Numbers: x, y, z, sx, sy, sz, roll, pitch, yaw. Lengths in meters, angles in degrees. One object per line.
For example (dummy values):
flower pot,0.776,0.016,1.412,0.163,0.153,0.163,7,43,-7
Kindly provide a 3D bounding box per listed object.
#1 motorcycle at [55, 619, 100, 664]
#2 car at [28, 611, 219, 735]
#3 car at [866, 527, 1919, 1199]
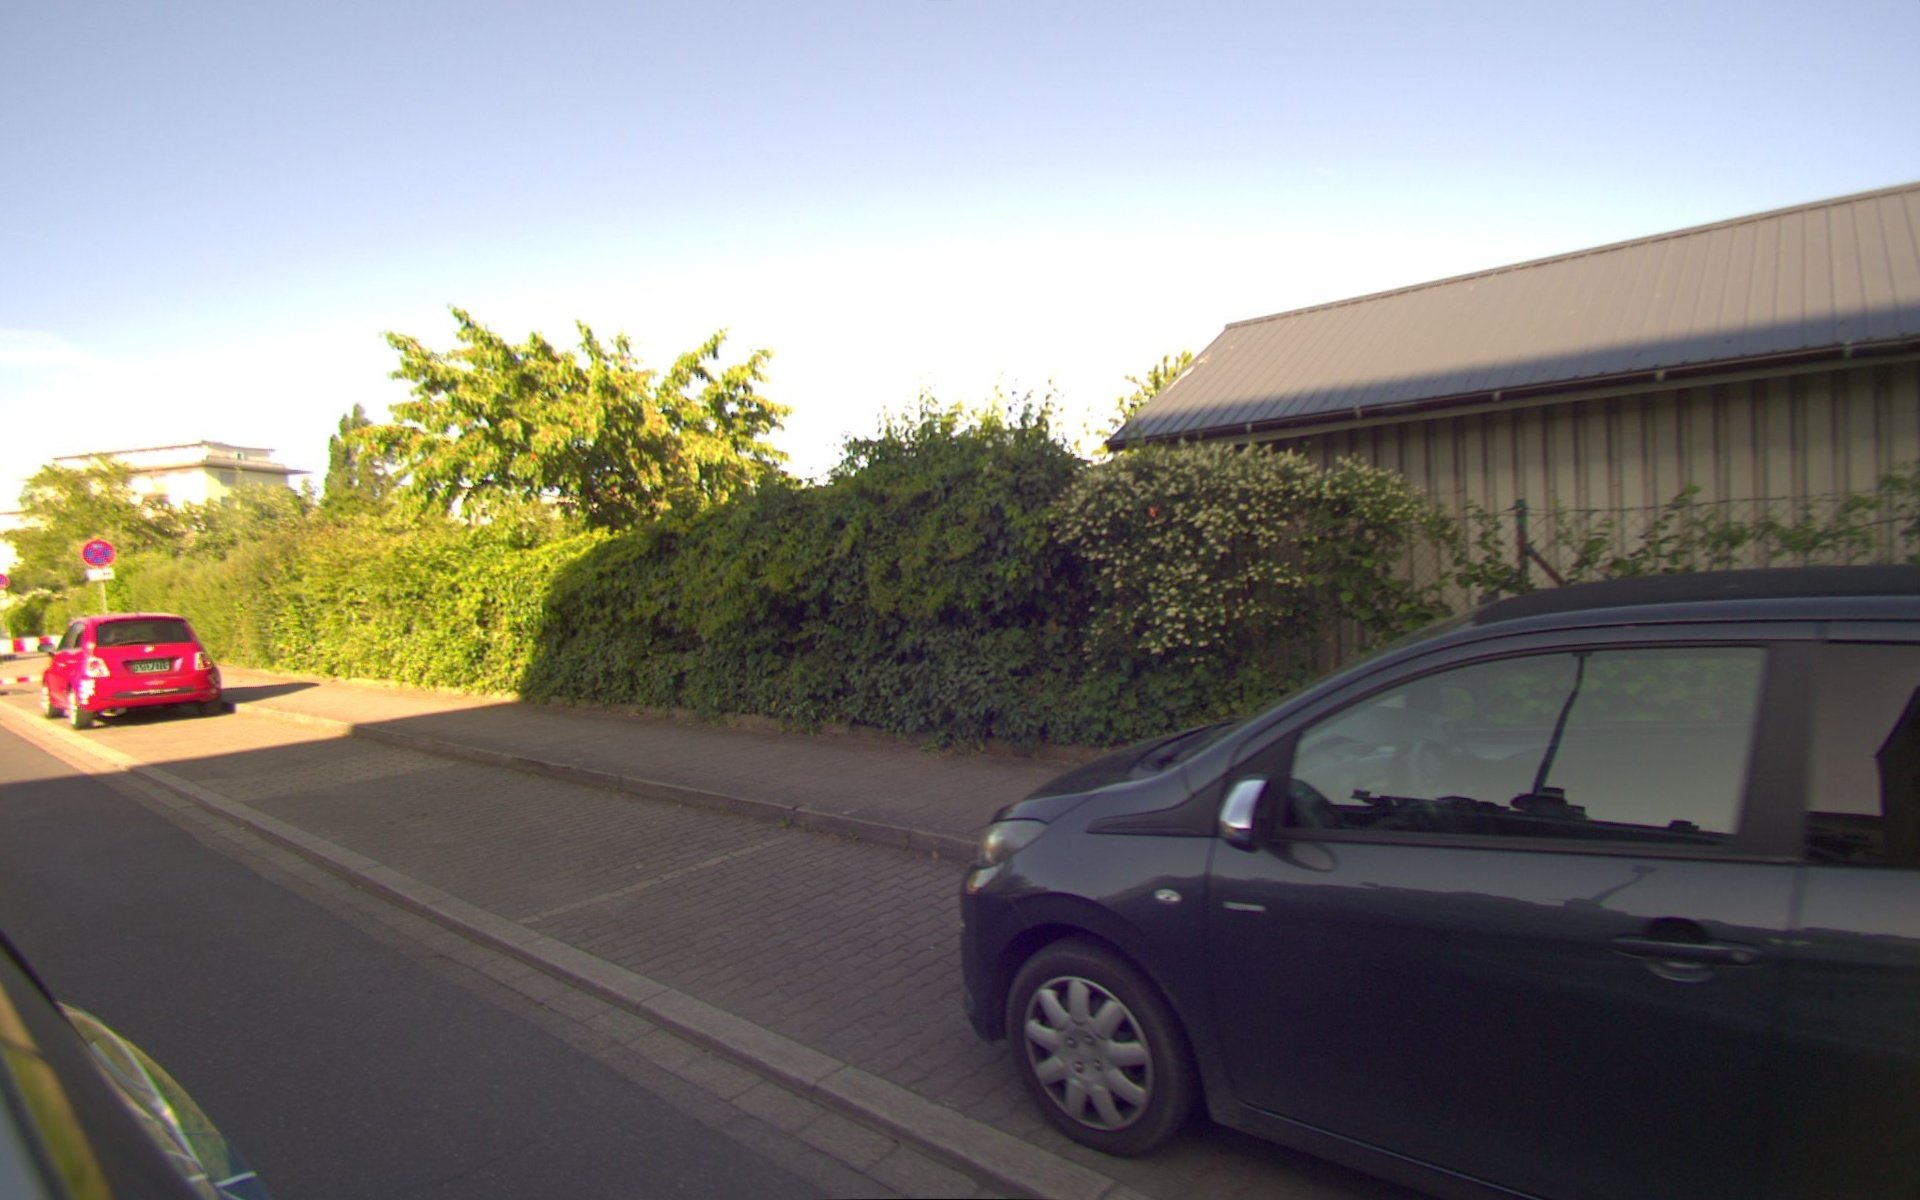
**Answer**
motorcycle,-26.412,1.224,30.274,2.088,1.277,0.561,-1,2,38
car,-12.077,0.963,14.541,3.569,1.506,1.543,-1,1,41
car,1.609,0.637,2.408,3.569,1.505,1.544,-1,4,41
